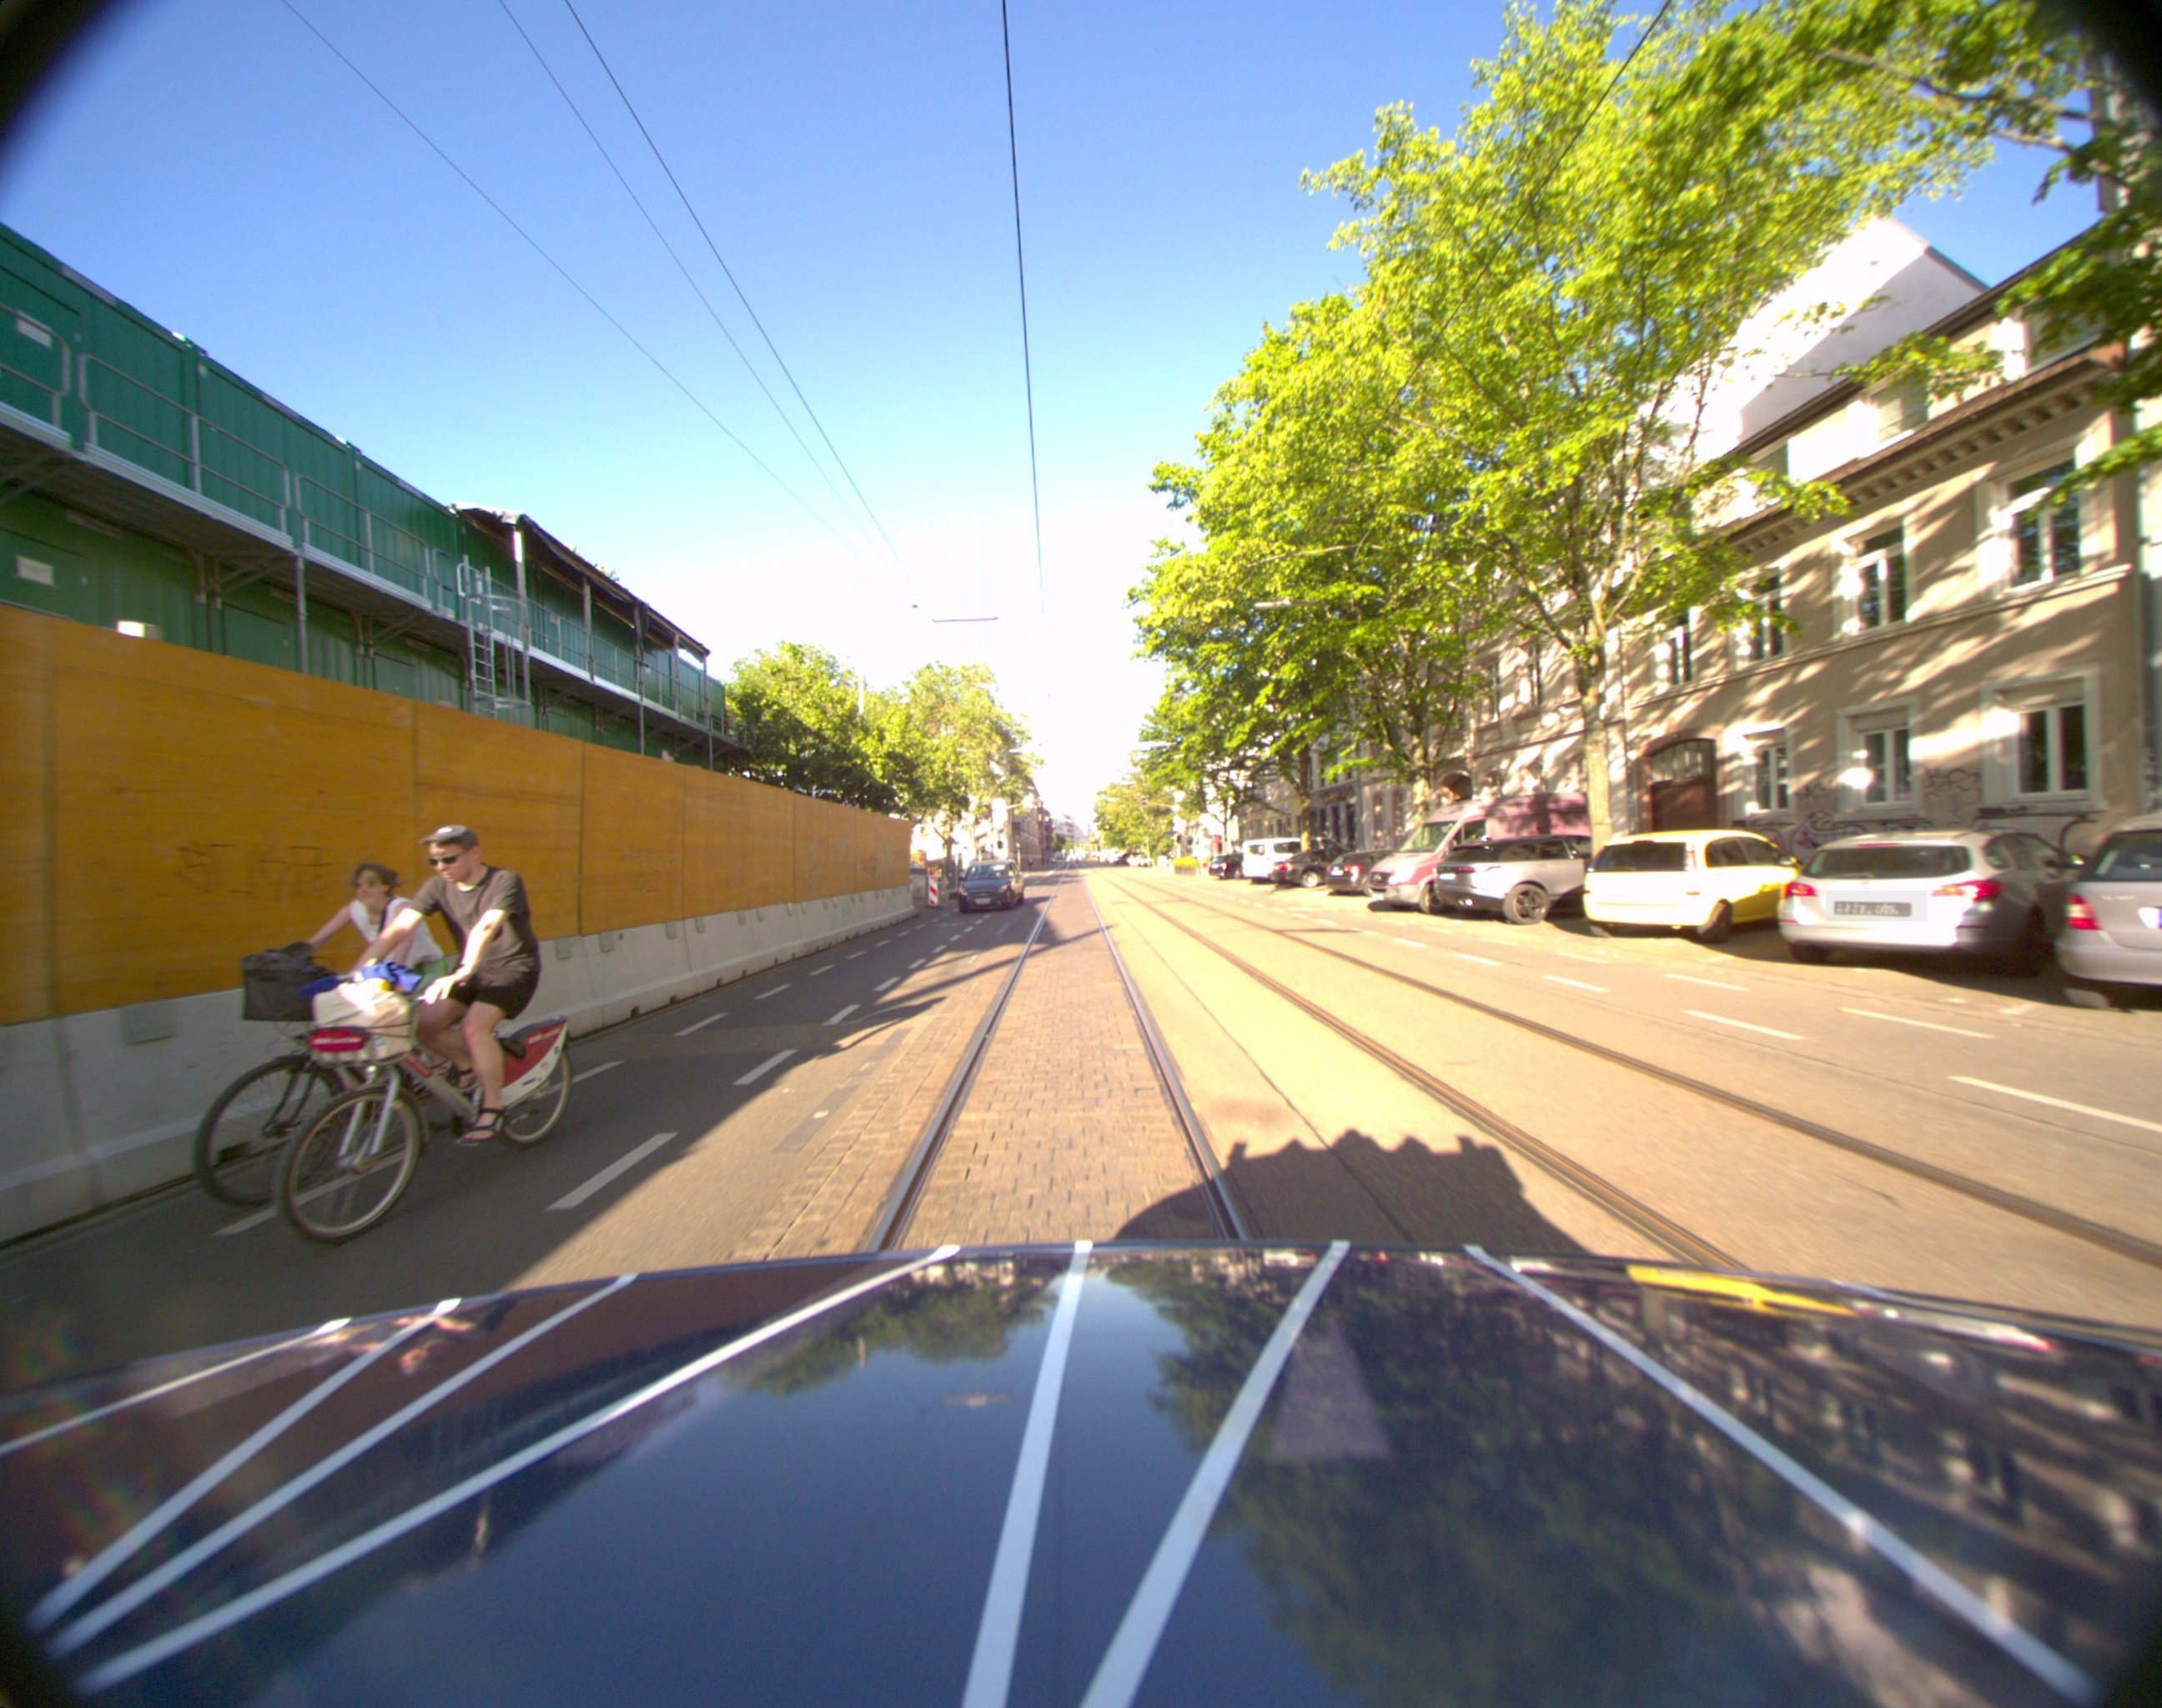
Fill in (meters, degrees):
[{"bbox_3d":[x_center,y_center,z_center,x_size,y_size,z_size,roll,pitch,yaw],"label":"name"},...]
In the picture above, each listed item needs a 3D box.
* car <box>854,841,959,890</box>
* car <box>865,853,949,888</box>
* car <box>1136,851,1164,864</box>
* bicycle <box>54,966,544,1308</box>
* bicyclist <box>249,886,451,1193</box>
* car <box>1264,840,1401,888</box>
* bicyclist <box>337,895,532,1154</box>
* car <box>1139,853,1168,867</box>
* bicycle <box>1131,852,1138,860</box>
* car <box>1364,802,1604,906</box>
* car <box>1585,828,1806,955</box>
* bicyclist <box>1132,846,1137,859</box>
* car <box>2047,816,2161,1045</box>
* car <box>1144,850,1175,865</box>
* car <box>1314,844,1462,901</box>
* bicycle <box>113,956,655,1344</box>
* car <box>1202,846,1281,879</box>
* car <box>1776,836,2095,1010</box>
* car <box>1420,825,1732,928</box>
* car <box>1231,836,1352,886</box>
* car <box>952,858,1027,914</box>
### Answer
[{"bbox_3d":[-9.576,0.604,42.014,5.336,2.547,2.013,-1,1,-1],"label":"car"},{"bbox_3d":[-11.093,1.059,48.607,4.794,1.998,2.000,-2,0,3],"label":"car"},{"bbox_3d":[8.527,0.449,94.108,3.337,1.445,1.496,-3,2,2],"label":"car"},{"bbox_3d":[-4.164,1.385,4.407,0.559,1.120,2.275,-1,0,-3],"label":"bicycle"},{"bbox_3d":[-4.151,1.005,4.356,0.557,1.603,0.576,-1,1,-2],"label":"bicyclist"},{"bbox_3d":[9.950,0.400,30.280,4.708,1.567,1.953,-4,0,-5],"label":"car"},{"bbox_3d":[-3.288,0.841,3.894,0.653,1.230,0.353,-1,1,-3],"label":"bicyclist"},{"bbox_3d":[8.673,0.701,91.188,3.337,1.445,1.496,-3,2,1],"label":"car"},{"bbox_3d":[6.019,0.239,85.276,0.451,0.930,1.757,-1,0,-4],"label":"bicycle"},{"bbox_3d":[9.337,0.000,17.880,4.449,2.105,2.163,-3,0,-3],"label":"car"},{"bbox_3d":[9.515,0.496,11.739,3.379,1.544,1.381,-5,2,-27],"label":"car"},{"bbox_3d":[5.988,-0.207,85.346,0.419,1.462,0.590,-1,0,-4],"label":"bicyclist"},{"bbox_3d":[9.943,0.482,5.997,4.003,1.667,1.700,-3,0,-20],"label":"car"},{"bbox_3d":[8.897,0.390,86.319,3.337,1.445,1.496,-3,2,1],"label":"car"},{"bbox_3d":[9.668,0.556,23.980,4.101,1.445,1.668,-4,1,-16],"label":"car"},{"bbox_3d":[-3.297,1.284,4.036,0.669,1.148,2.276,-3,0,2],"label":"bicycle"},{"bbox_3d":[8.877,0.466,41.973,4.005,1.549,1.777,-4,1,-30],"label":"car"},{"bbox_3d":[9.818,0.608,8.659,4.178,1.543,1.698,-1,0,-32],"label":"car"},{"bbox_3d":[9.704,0.409,15.191,4.842,1.714,2.163,-2,0,-3],"label":"car"},{"bbox_3d":[9.384,0.284,33.894,4.946,2.002,2.071,-2,0,-24],"label":"car"},{"bbox_3d":[-2.940,1.001,25.258,1.749,1.612,4.170,-2,0,2],"label":"car"}]
